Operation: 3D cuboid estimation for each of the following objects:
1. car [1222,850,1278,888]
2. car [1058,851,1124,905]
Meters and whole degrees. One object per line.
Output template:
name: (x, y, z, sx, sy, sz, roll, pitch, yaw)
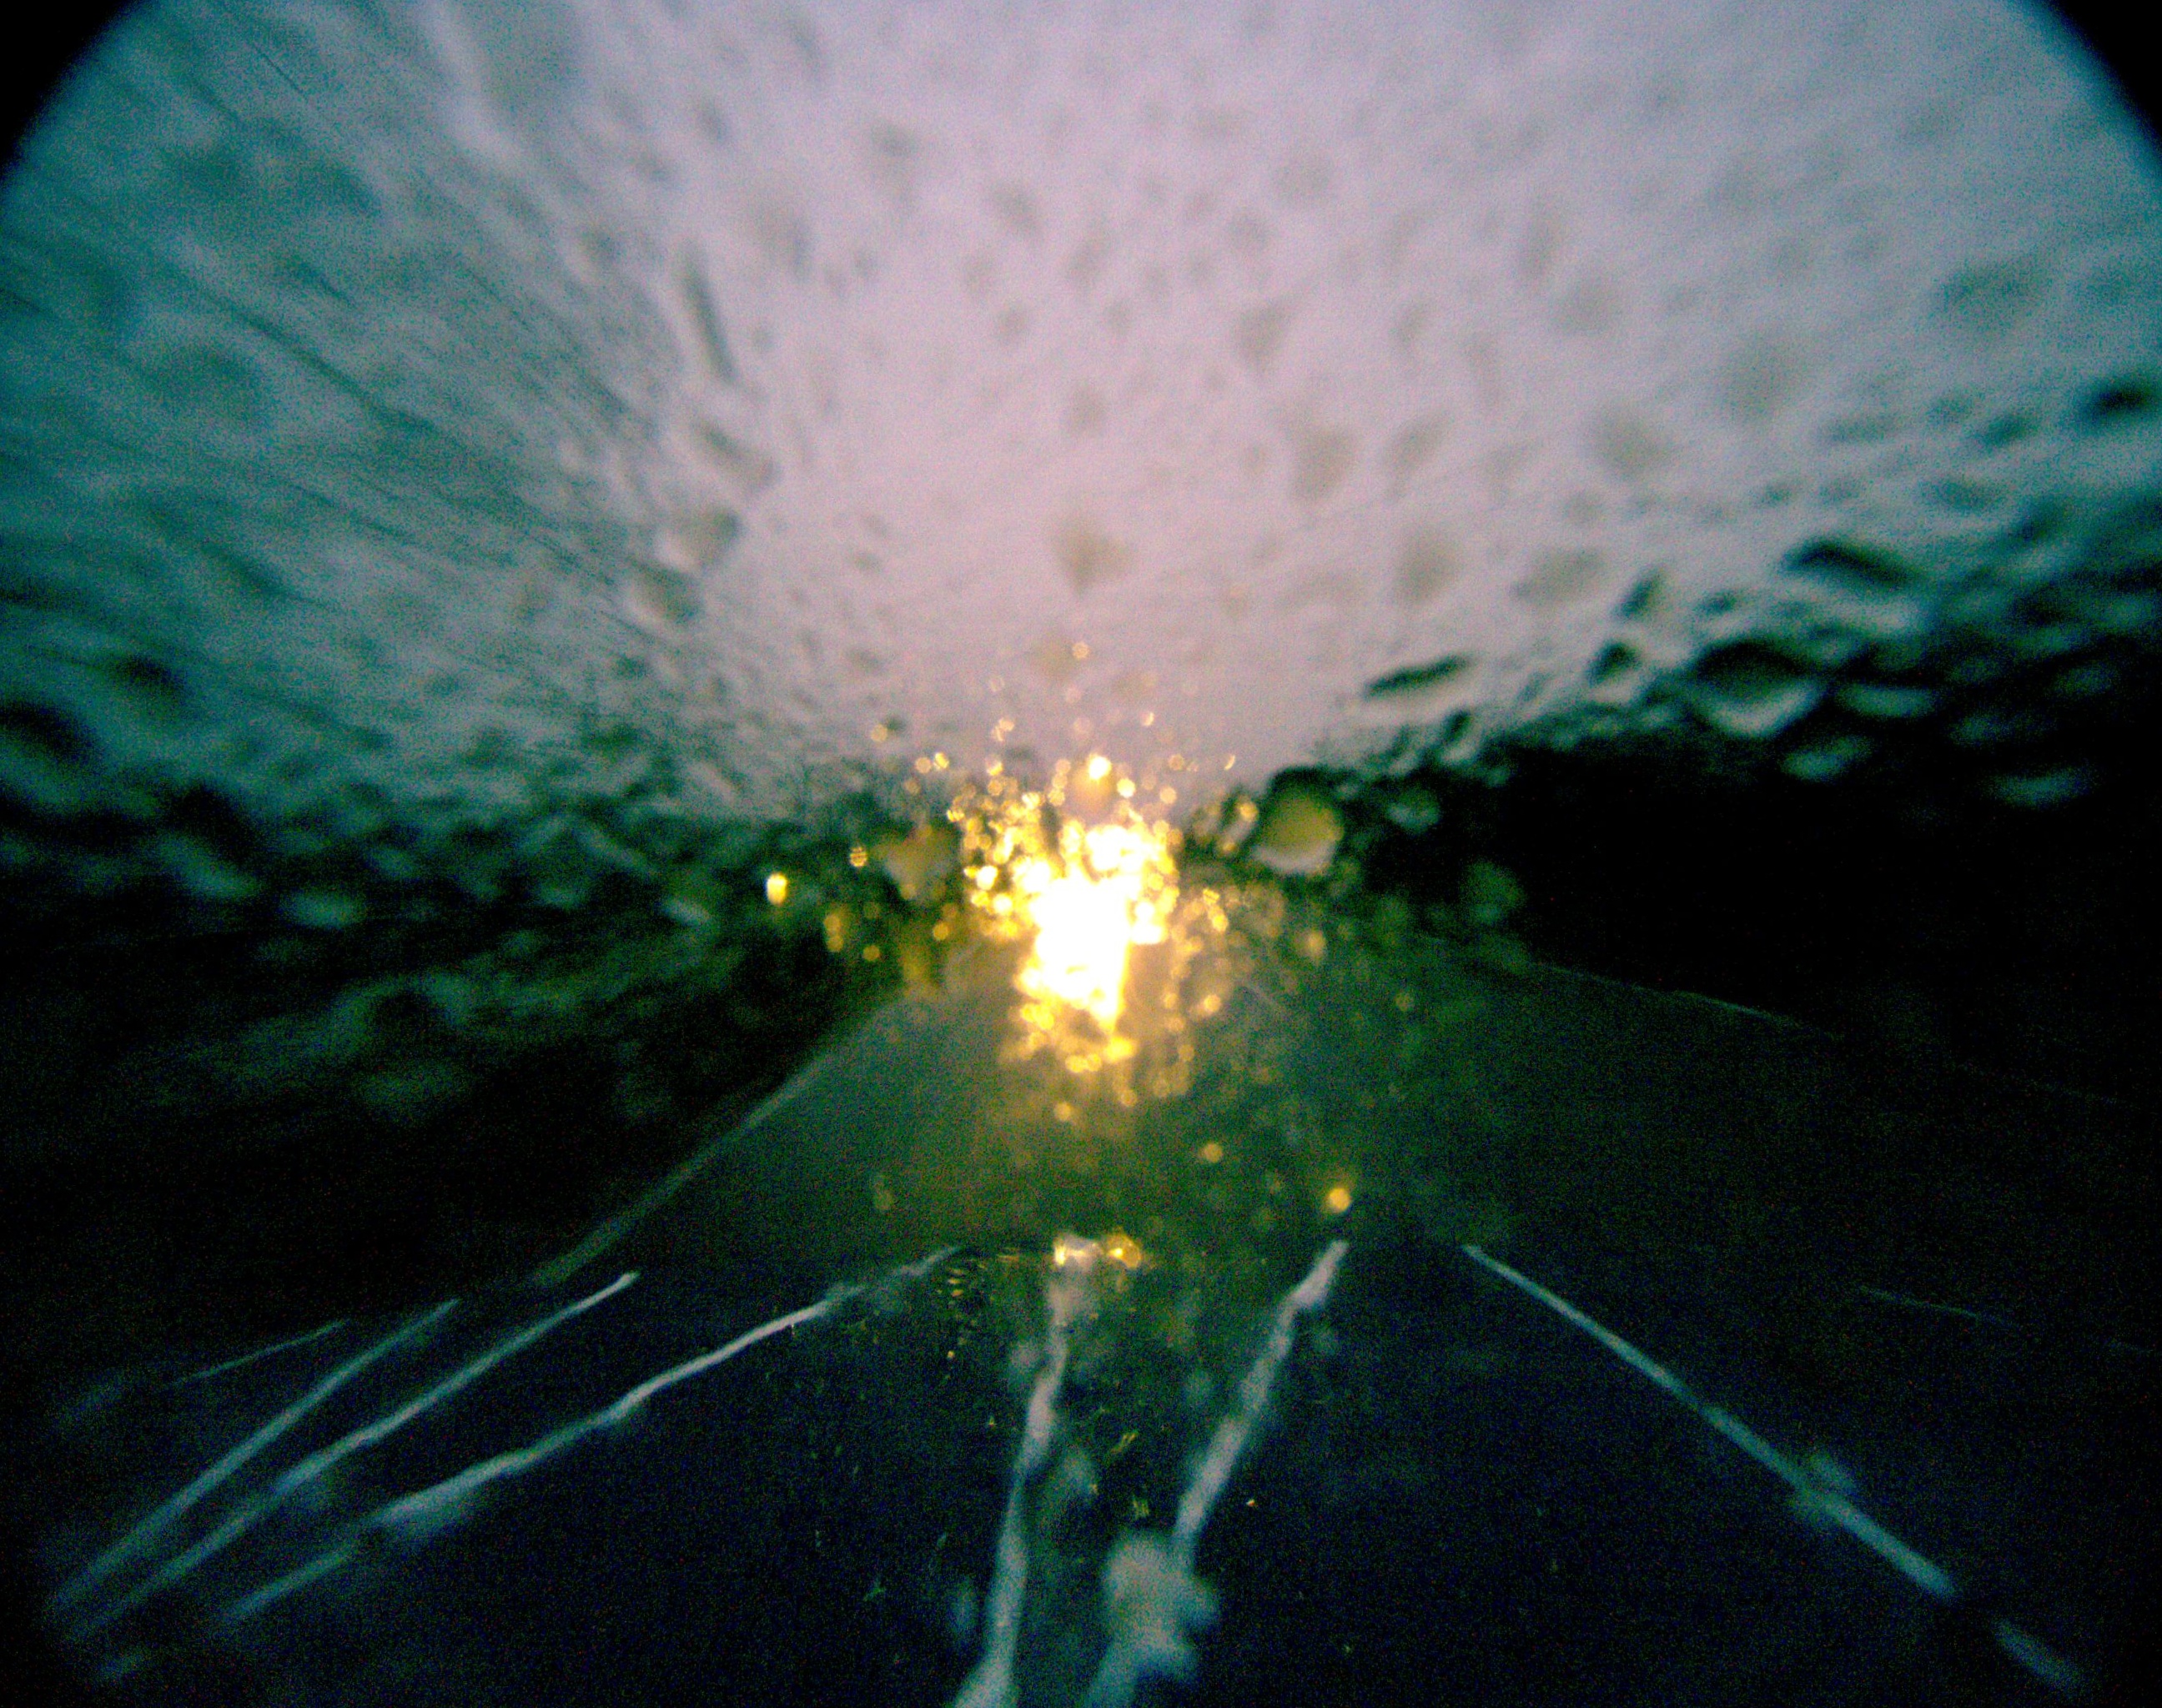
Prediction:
car: (7.614, 0.645, 34.582, 1.780, 1.599, 3.773, 0, 1, 1)
car: (0.429, 0.744, 25.896, 1.998, 1.601, 4.000, -2, 1, 4)
